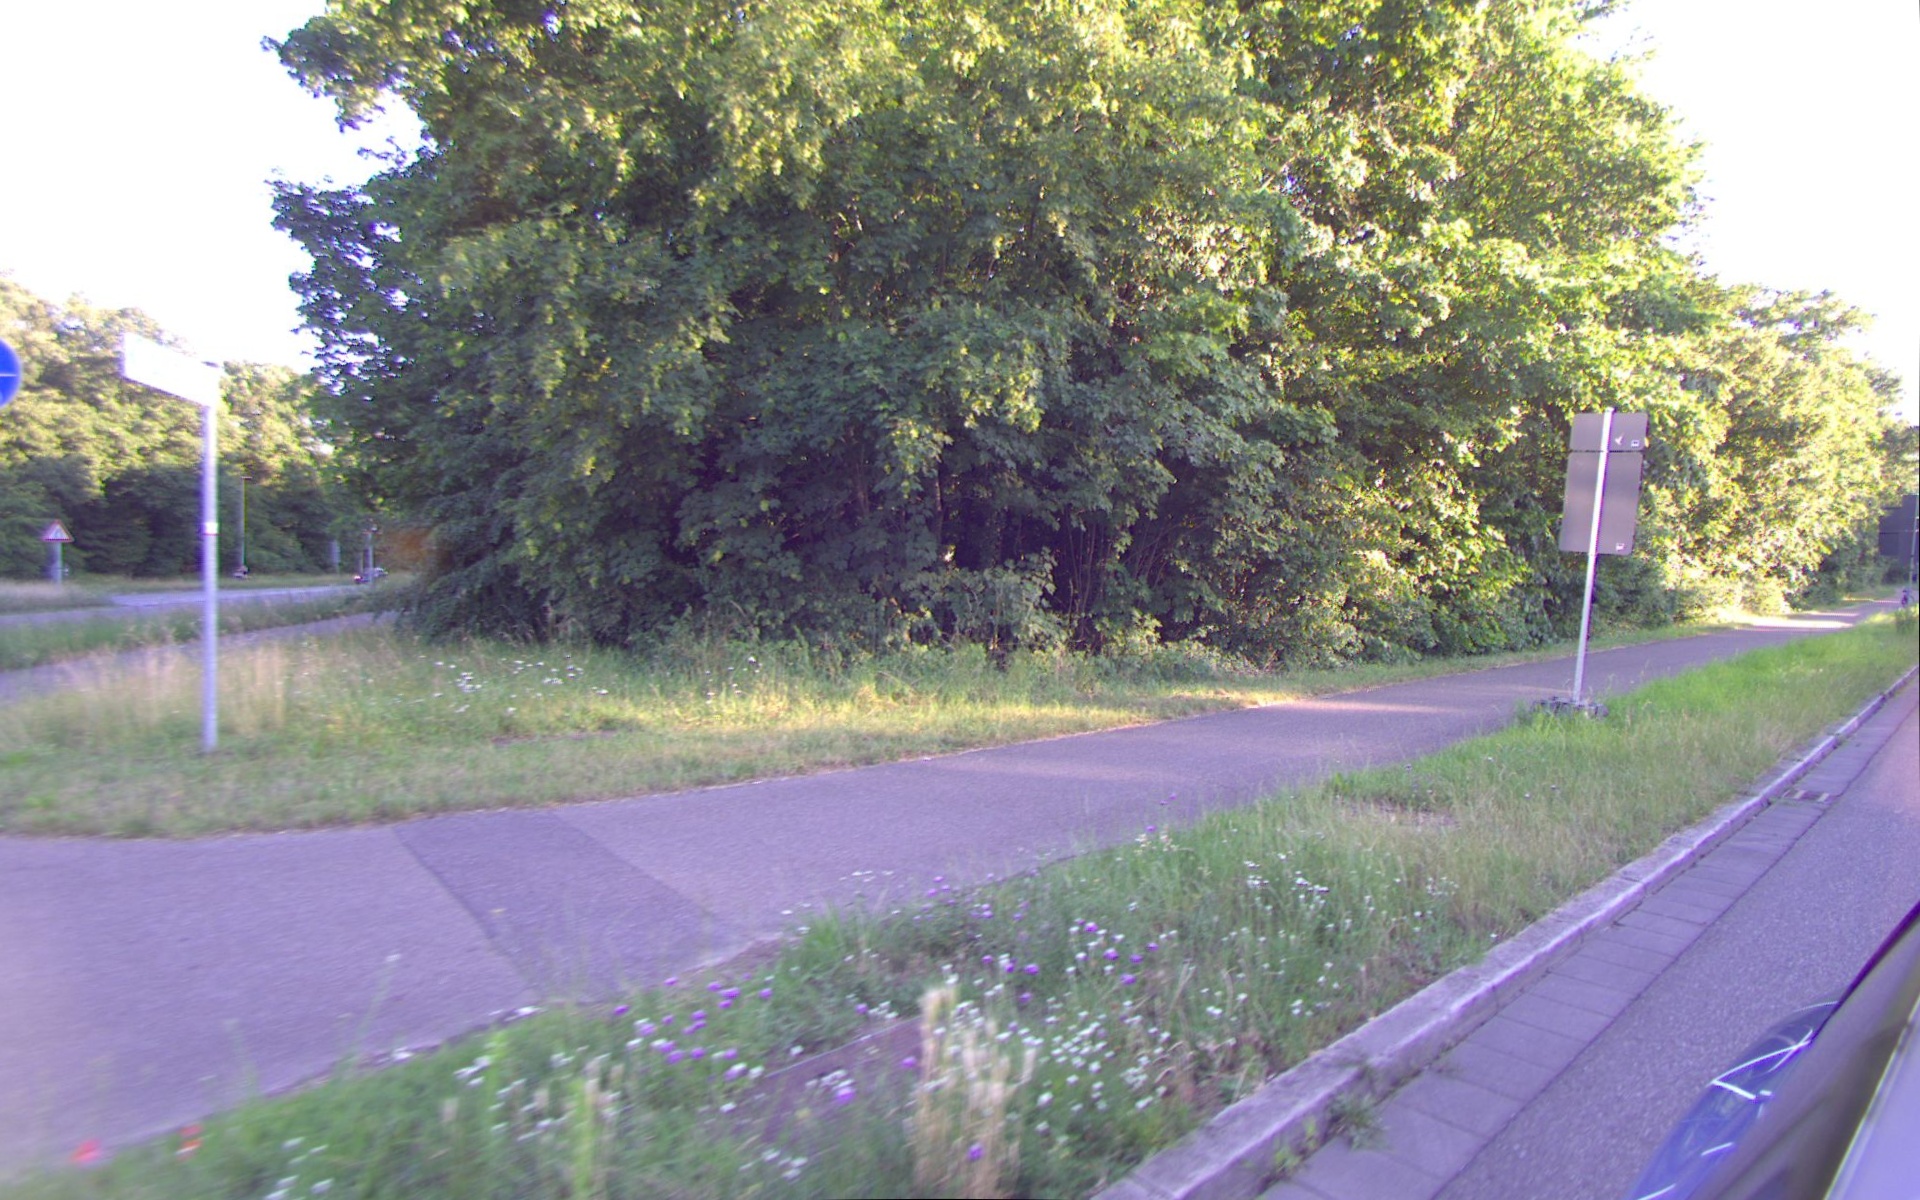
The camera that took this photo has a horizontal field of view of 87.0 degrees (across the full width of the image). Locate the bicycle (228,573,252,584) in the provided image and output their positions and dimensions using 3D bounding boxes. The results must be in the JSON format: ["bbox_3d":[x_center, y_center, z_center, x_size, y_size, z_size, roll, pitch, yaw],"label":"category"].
[{"bbox_3d":[-56.986,-1.685,80.111,0.576,0.814,1.960,0,2,-3],"label":"bicycle"}]

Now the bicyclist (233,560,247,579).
[{"bbox_3d":[-56.972,-2.413,80.077,0.576,1.447,0.823,0,1,-3],"label":"bicyclist"}]

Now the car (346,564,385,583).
[{"bbox_3d":[-53.006,-2.380,90.338,1.787,1.552,4.465,-2,2,-15],"label":"car"}]
